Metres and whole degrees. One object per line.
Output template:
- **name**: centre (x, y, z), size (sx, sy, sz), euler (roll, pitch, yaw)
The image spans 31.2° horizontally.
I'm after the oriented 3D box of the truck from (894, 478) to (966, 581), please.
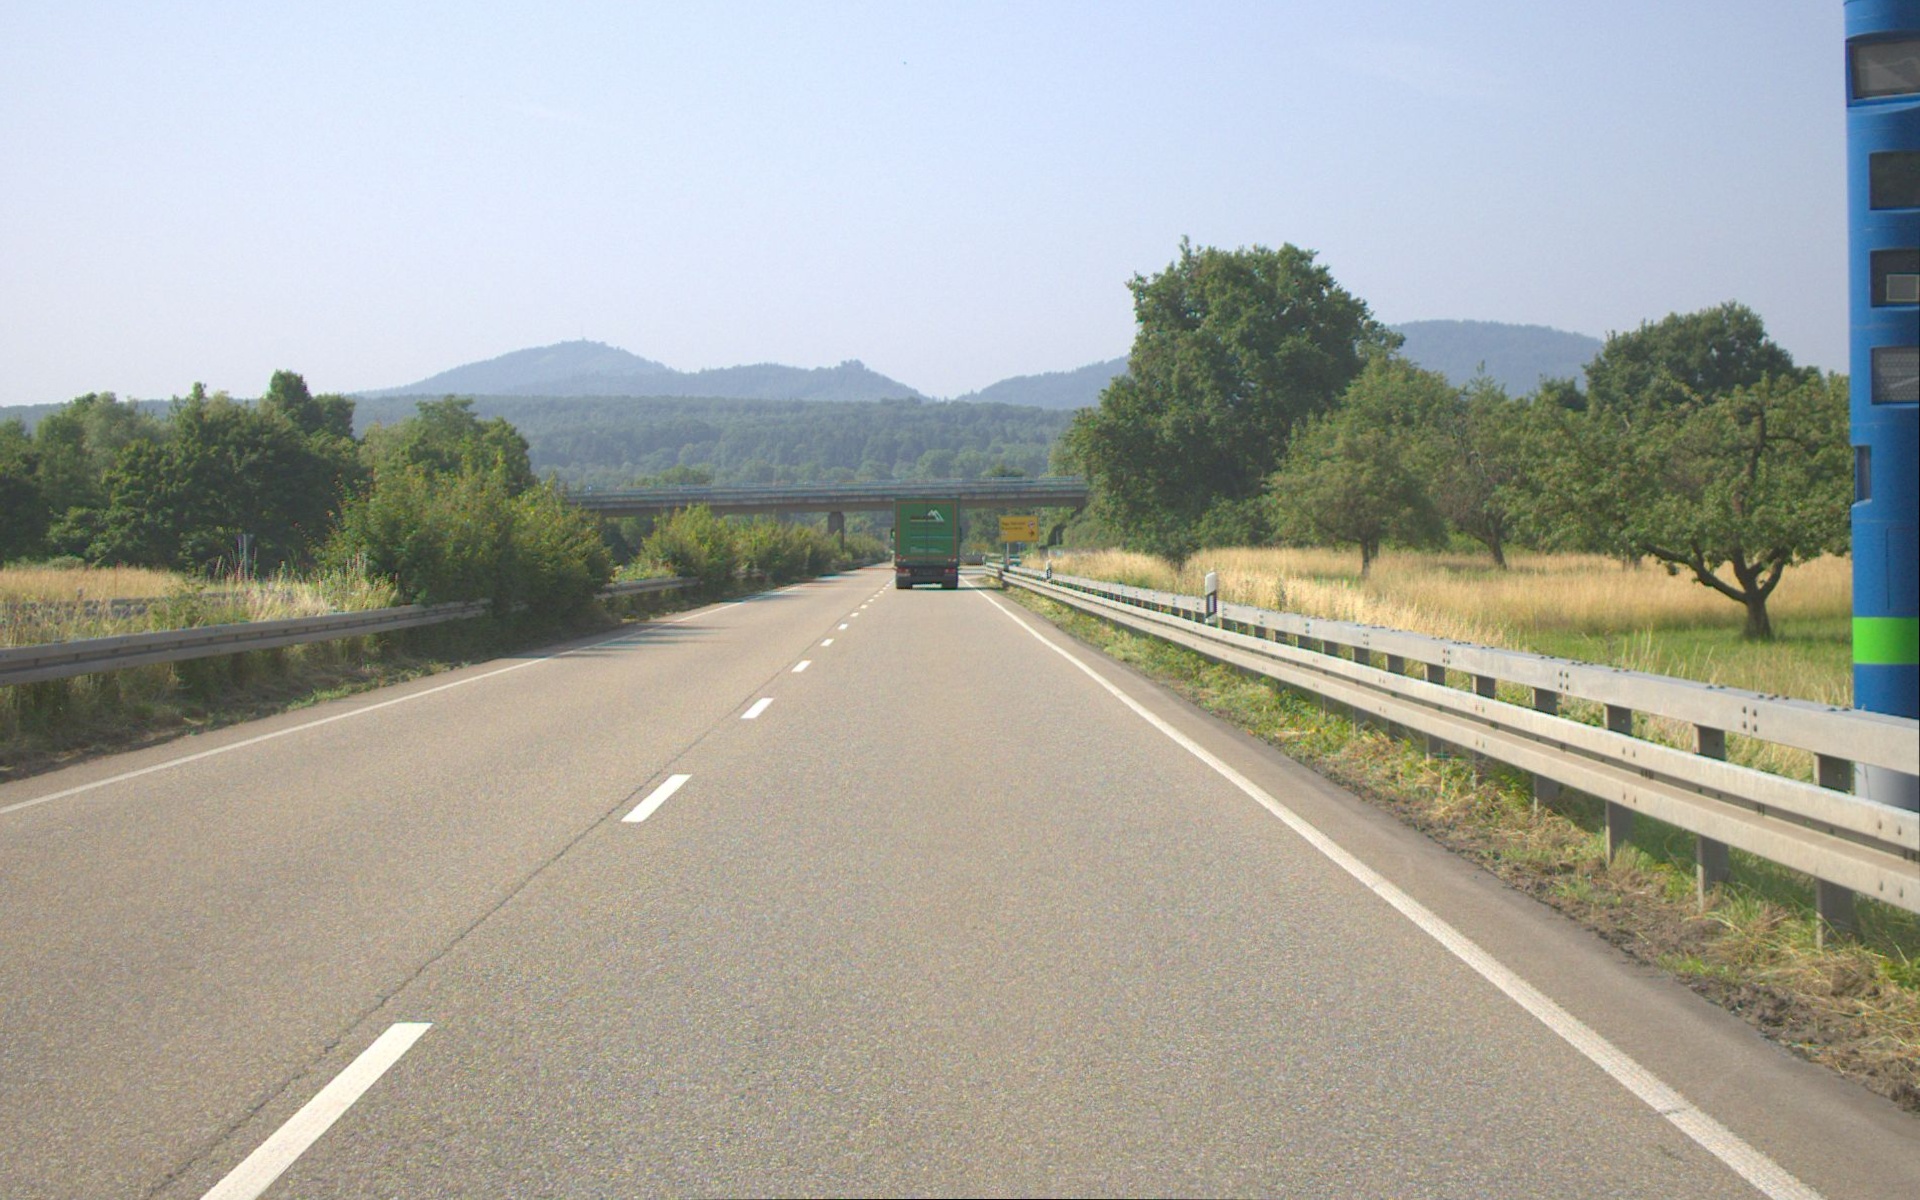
- **truck**: centre (-1.171, -2.924, 138.791), size (2.722, 3.952, 10.417), euler (1, 2, 0)
